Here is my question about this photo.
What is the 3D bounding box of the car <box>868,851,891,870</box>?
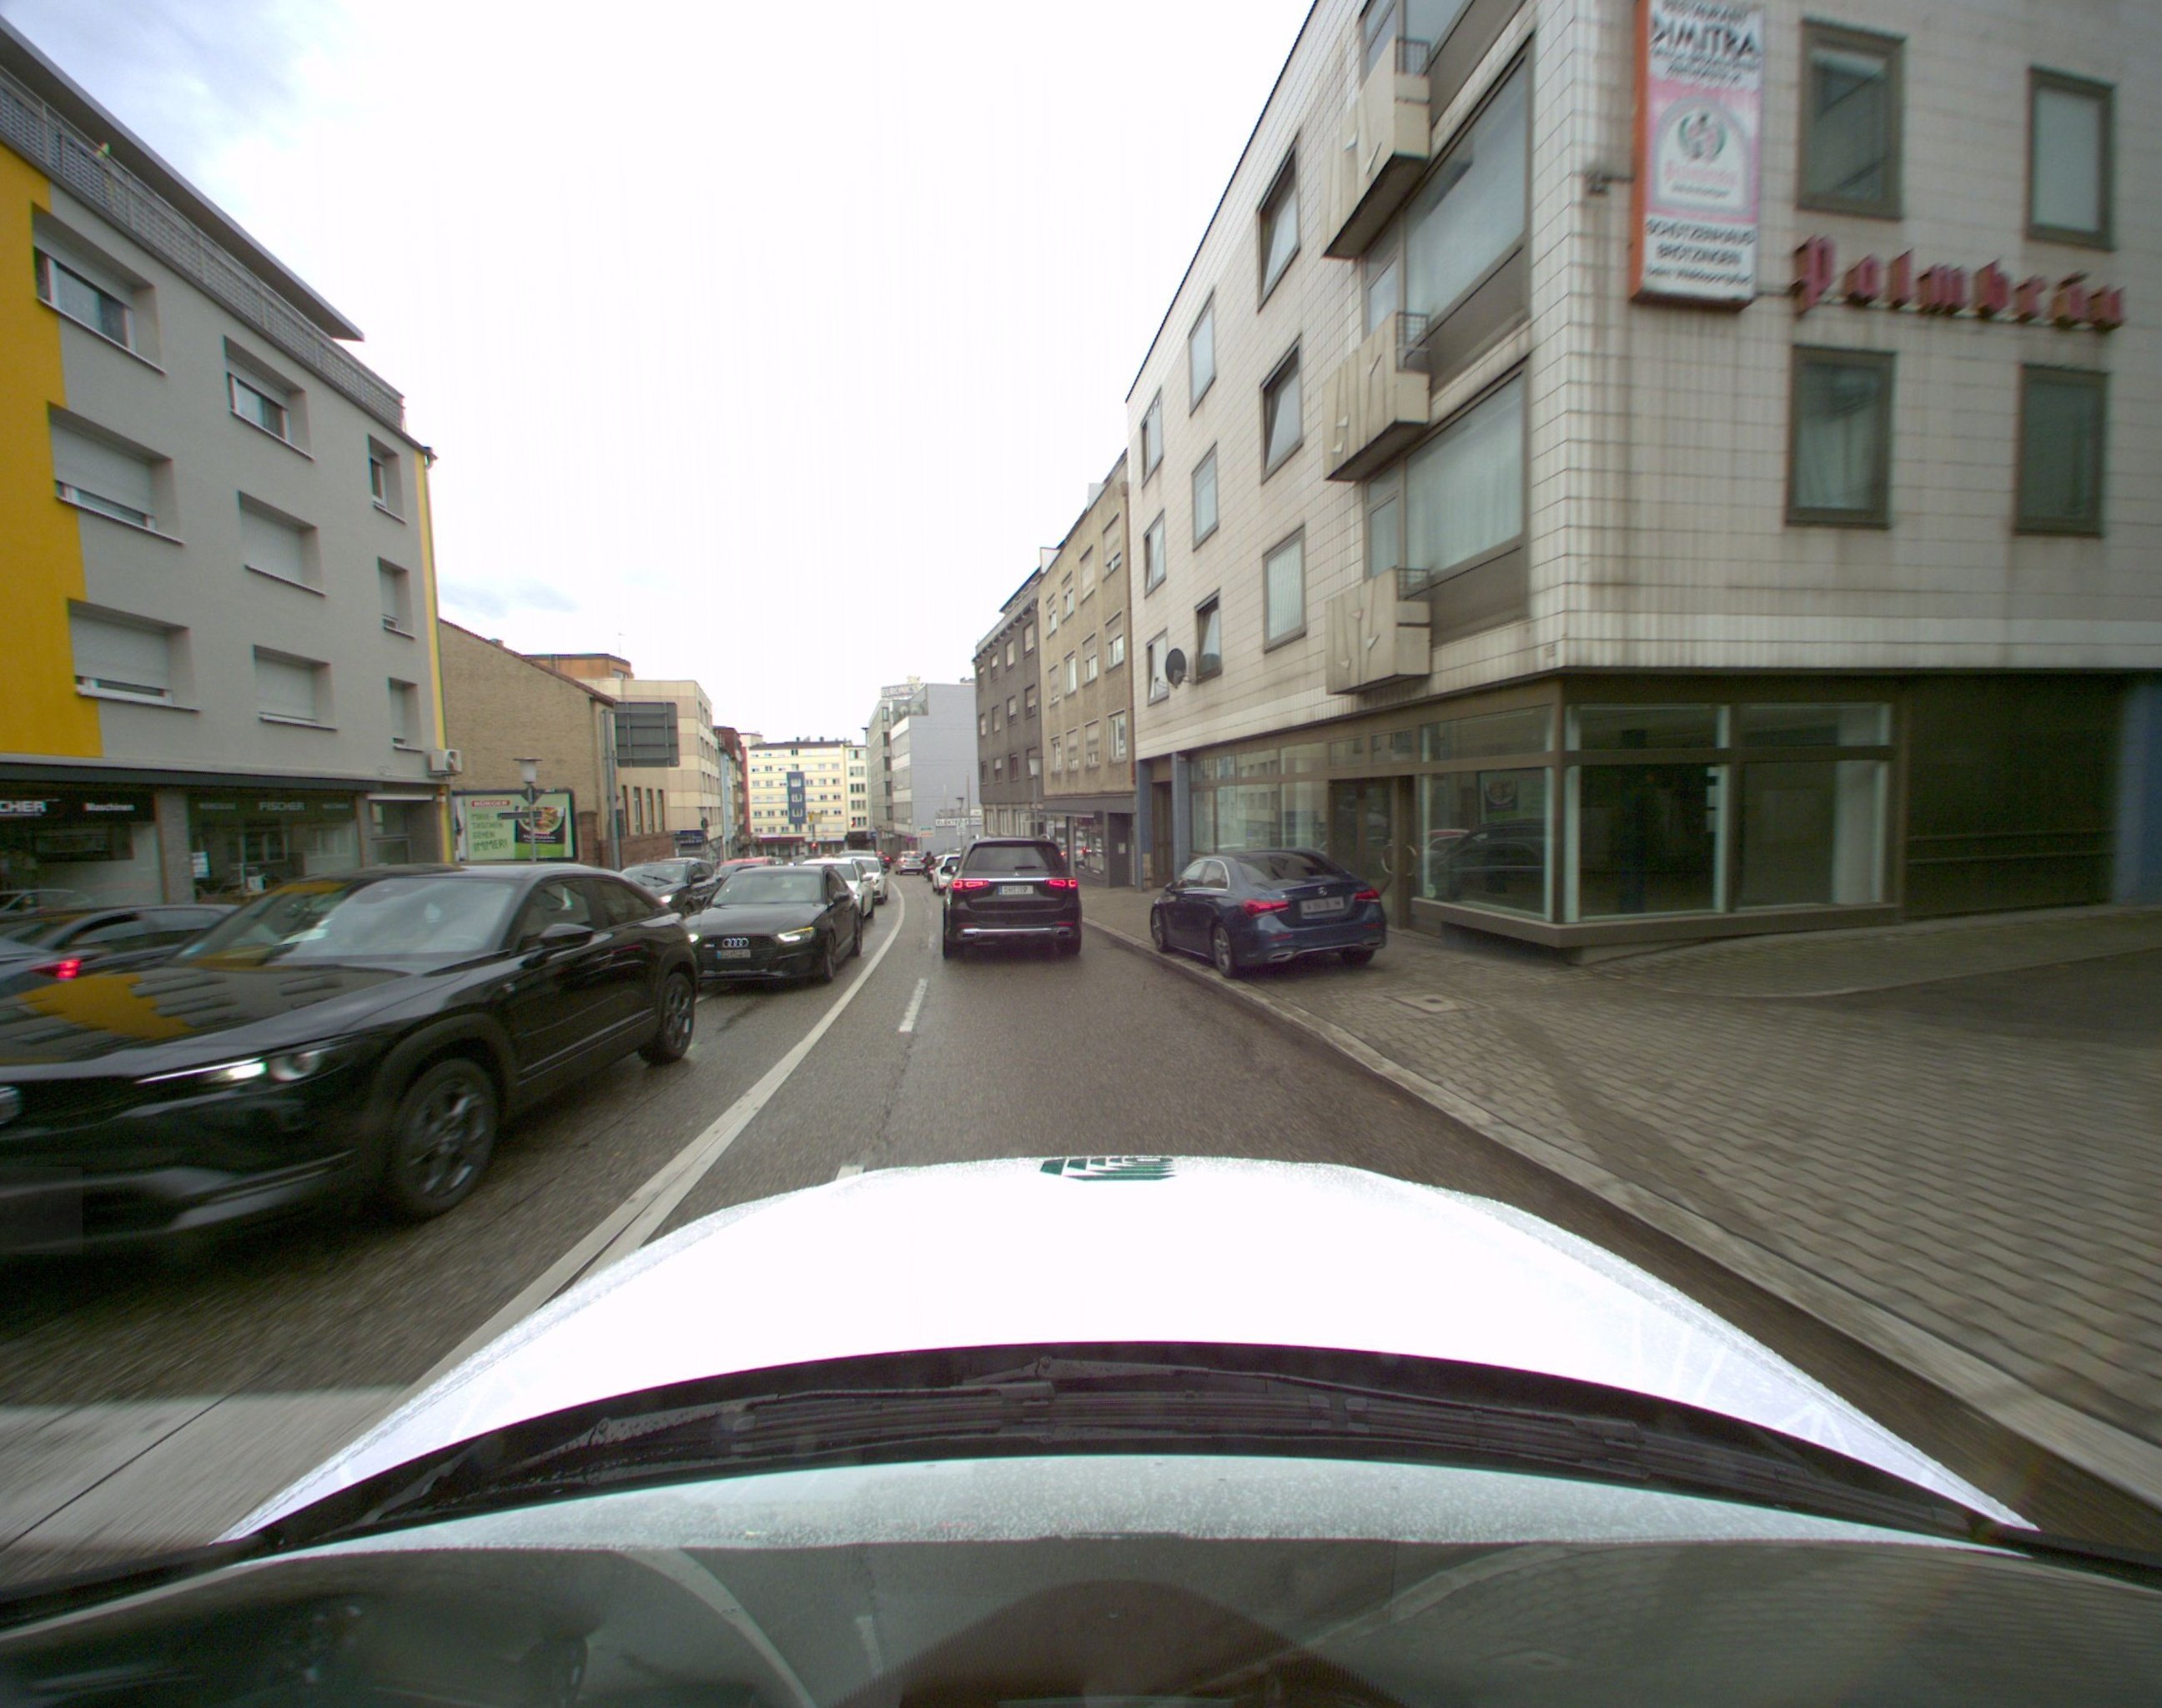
[{"bbox_3d":[-17.553,0.530,70.940,1.528,1.548,3.085,-2,1,-21],"label":"car"}]

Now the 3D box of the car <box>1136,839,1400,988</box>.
[{"bbox_3d":[2.110,0.610,10.604,1.764,1.392,4.365,-5,1,-9],"label":"car"}]

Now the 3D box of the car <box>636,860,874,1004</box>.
[{"bbox_3d":[-4.012,0.833,10.851,1.805,1.415,4.368,-2,0,-7],"label":"car"}]

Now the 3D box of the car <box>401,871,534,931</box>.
[{"bbox_3d":[-18.409,1.343,24.709,1.695,1.455,4.637,-2,1,-17],"label":"car"}]

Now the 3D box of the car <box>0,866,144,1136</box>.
[{"bbox_3d":[-6.833,0.917,3.007,1.816,1.477,4.371,-2,2,-5],"label":"car"}]

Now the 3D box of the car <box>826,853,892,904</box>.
[{"bbox_3d":[-6.944,0.722,25.805,1.699,1.480,4.274,0,0,-11],"label":"car"}]

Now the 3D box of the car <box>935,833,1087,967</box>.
[{"bbox_3d":[-1.270,0.594,13.341,2.020,1.739,4.733,-1,0,-8],"label":"car"}]

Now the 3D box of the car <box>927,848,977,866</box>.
[{"bbox_3d":[-11.375,0.282,71.884,4.019,1.494,1.713,-1,-1,-38],"label":"car"}]

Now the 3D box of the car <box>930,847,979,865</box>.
[{"bbox_3d":[-11.584,0.148,74.726,4.019,1.597,1.778,-1,-1,-38],"label":"car"}]

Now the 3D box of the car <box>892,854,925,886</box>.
[{"bbox_3d":[-11.575,1.050,54.527,1.758,1.779,3.555,-2,5,-17],"label":"car"}]

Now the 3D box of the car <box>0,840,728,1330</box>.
[{"bbox_3d":[-3.784,0.778,4.769,1.816,1.537,4.370,-2,0,-5],"label":"car"}]

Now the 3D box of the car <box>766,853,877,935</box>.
[{"bbox_3d":[-5.693,0.795,18.389,1.807,1.521,4.544,-2,0,-11],"label":"car"}]

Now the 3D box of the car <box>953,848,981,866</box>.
[{"bbox_3d":[-9.616,0.256,68.363,1.570,1.477,4.043,-1,0,-19],"label":"car"}]

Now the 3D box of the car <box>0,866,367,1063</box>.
[{"bbox_3d":[-10.334,1.043,9.129,1.735,1.595,3.764,-2,2,-10],"label":"car"}]

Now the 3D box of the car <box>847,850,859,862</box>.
[{"bbox_3d":[-31.705,0.275,113.050,1.526,1.548,3.089,-2,1,-17],"label":"car"}]

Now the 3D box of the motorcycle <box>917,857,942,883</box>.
[{"bbox_3d":[-7.848,0.791,42.100,0.870,1.057,2.922,-2,5,-18],"label":"motorcycle"}]

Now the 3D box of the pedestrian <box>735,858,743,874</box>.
[{"bbox_3d":[-35.509,1.243,84.544,0.674,1.652,0.601,-2,5,-22],"label":"pedestrian"}]

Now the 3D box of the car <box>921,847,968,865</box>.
[{"bbox_3d":[-12.846,0.180,76.911,4.019,1.597,1.778,-1,-1,-38],"label":"car"}]

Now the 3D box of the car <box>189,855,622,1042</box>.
[{"bbox_3d":[-7.586,0.887,9.885,1.804,1.542,4.371,-2,2,-5],"label":"car"}]

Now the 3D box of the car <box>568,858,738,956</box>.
[{"bbox_3d":[-8.745,0.971,17.082,1.807,1.631,4.327,-5,1,-10],"label":"car"}]

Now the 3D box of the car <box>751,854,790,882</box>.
[{"bbox_3d":[-19.856,0.883,52.191,1.658,1.610,3.911,-4,1,-13],"label":"car"}]

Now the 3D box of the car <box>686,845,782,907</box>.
[{"bbox_3d":[-9.918,0.594,23.562,1.742,1.515,4.112,-4,1,-13],"label":"car"}]

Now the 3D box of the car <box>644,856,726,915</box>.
[{"bbox_3d":[-14.068,1.073,29.155,1.730,1.829,4.040,-4,0,-14],"label":"car"}]

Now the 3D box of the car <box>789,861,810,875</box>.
[{"bbox_3d":[-30.100,1.447,87.205,1.700,1.480,4.272,0,0,-13],"label":"car"}]

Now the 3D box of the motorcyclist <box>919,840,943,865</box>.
[{"bbox_3d":[-7.776,-0.091,42.076,0.870,1.057,2.922,-2,5,-17],"label":"motorcyclist"}]

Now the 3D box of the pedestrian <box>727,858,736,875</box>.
[{"bbox_3d":[-36.168,1.276,84.276,0.743,1.652,0.601,-2,5,-23],"label":"pedestrian"}]

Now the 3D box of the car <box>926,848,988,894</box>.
[{"bbox_3d":[-4.726,0.620,30.542,1.833,1.461,4.358,-5,1,-13],"label":"car"}]

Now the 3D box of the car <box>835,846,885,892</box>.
[{"bbox_3d":[-8.842,0.577,32.825,1.809,1.705,4.540,0,0,-13],"label":"car"}]
